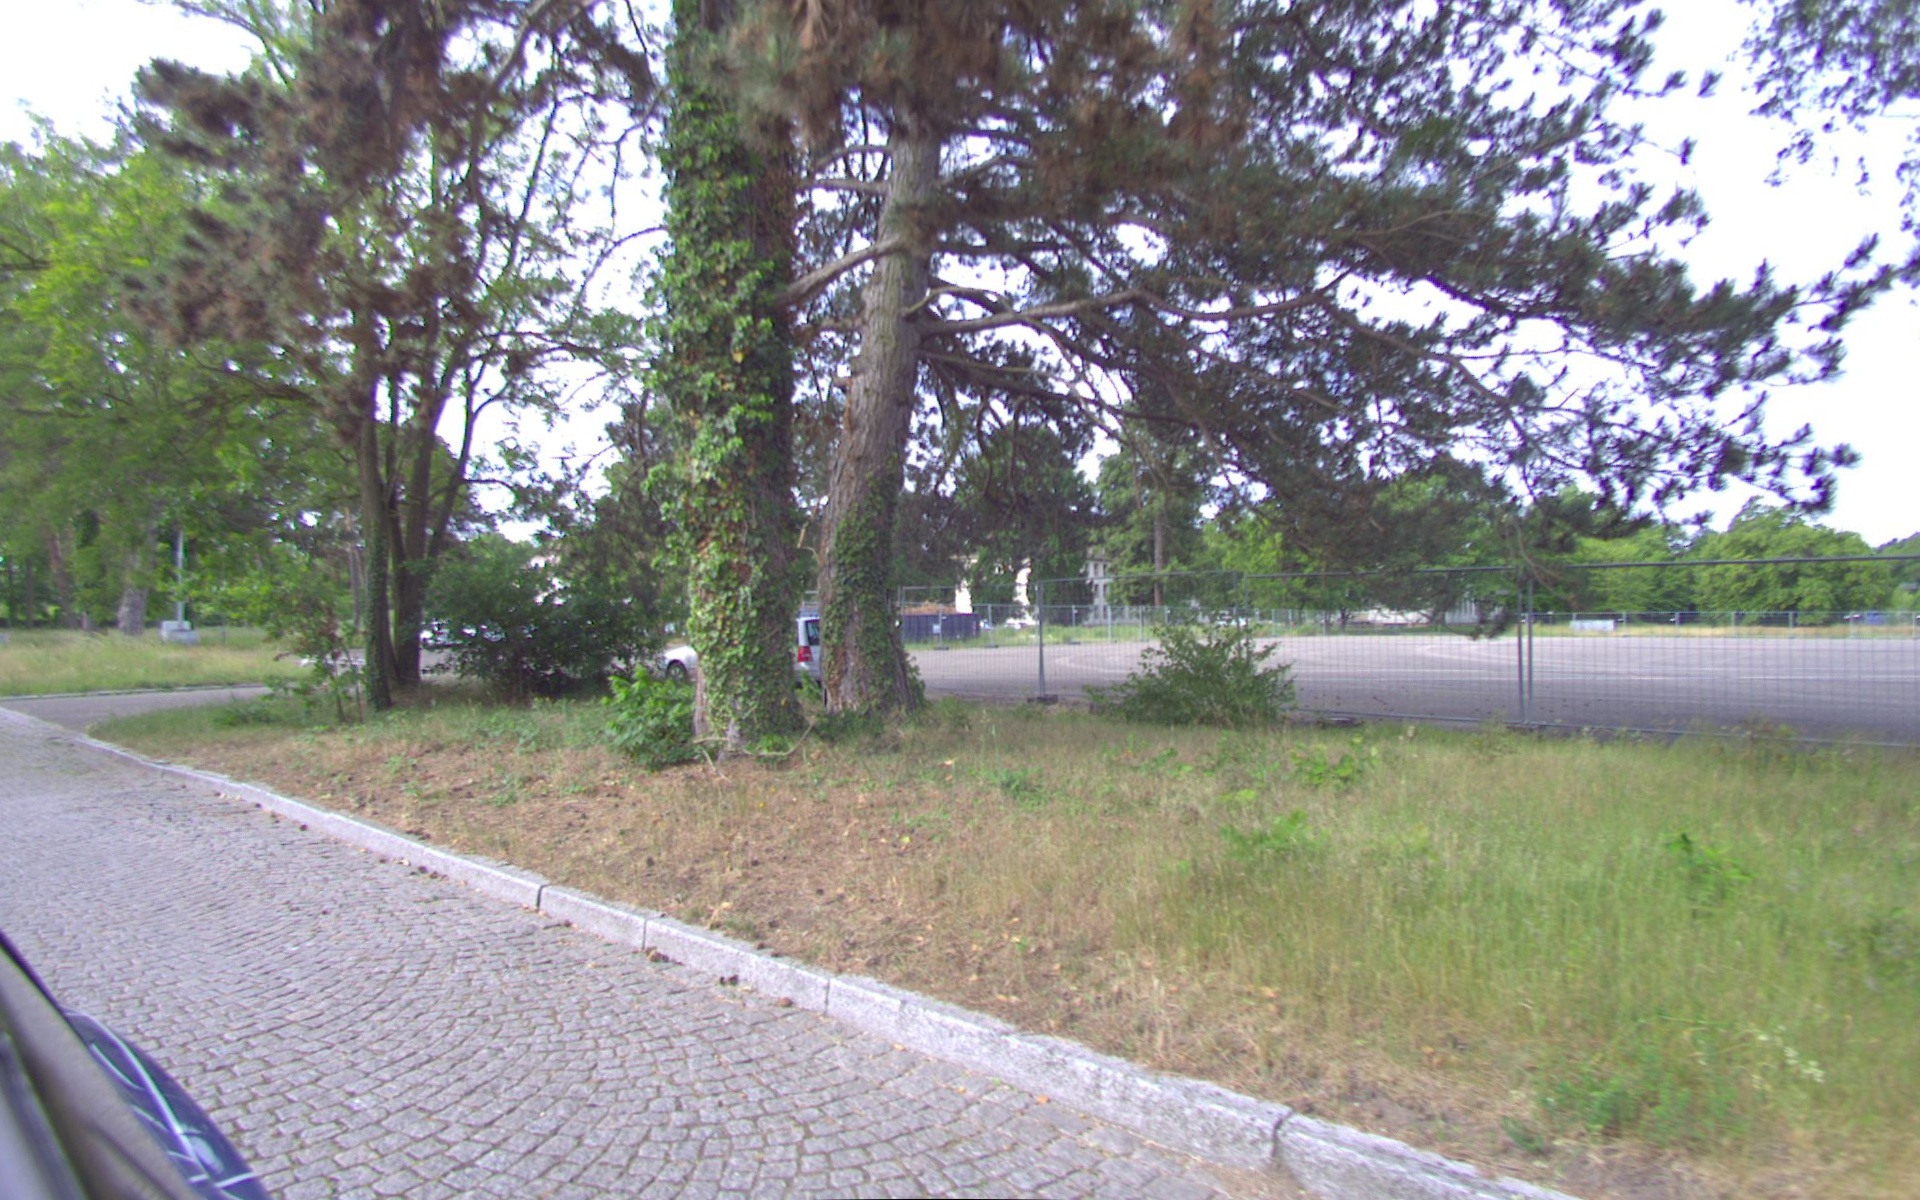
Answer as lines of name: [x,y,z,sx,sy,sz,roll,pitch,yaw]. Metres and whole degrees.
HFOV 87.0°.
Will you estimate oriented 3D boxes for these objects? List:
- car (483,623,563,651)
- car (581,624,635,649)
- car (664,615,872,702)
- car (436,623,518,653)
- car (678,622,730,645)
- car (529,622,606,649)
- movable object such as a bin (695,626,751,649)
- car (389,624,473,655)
car: [-23.439,1.962,54.273,4.444,1.460,1.976,-2,-2,36]
car: [-24.365,2.504,70.074,3.795,1.696,1.593,-1,-2,35]
car: [-3.526,1.001,18.294,3.717,1.421,1.650,-2,-2,37]
car: [-24.965,1.951,52.226,4.444,1.460,1.976,-2,-2,36]
car: [-19.398,2.539,76.573,3.795,1.696,1.729,-1,-2,35]
car: [-22.057,1.979,56.825,4.444,1.460,1.976,-2,-2,36]
movable object such as a bin: [-11.576,1.820,49.442,2.711,1.079,1.046,-1,-2,31]
car: [-26.152,1.936,49.993,4.444,1.460,1.976,-2,-2,36]
